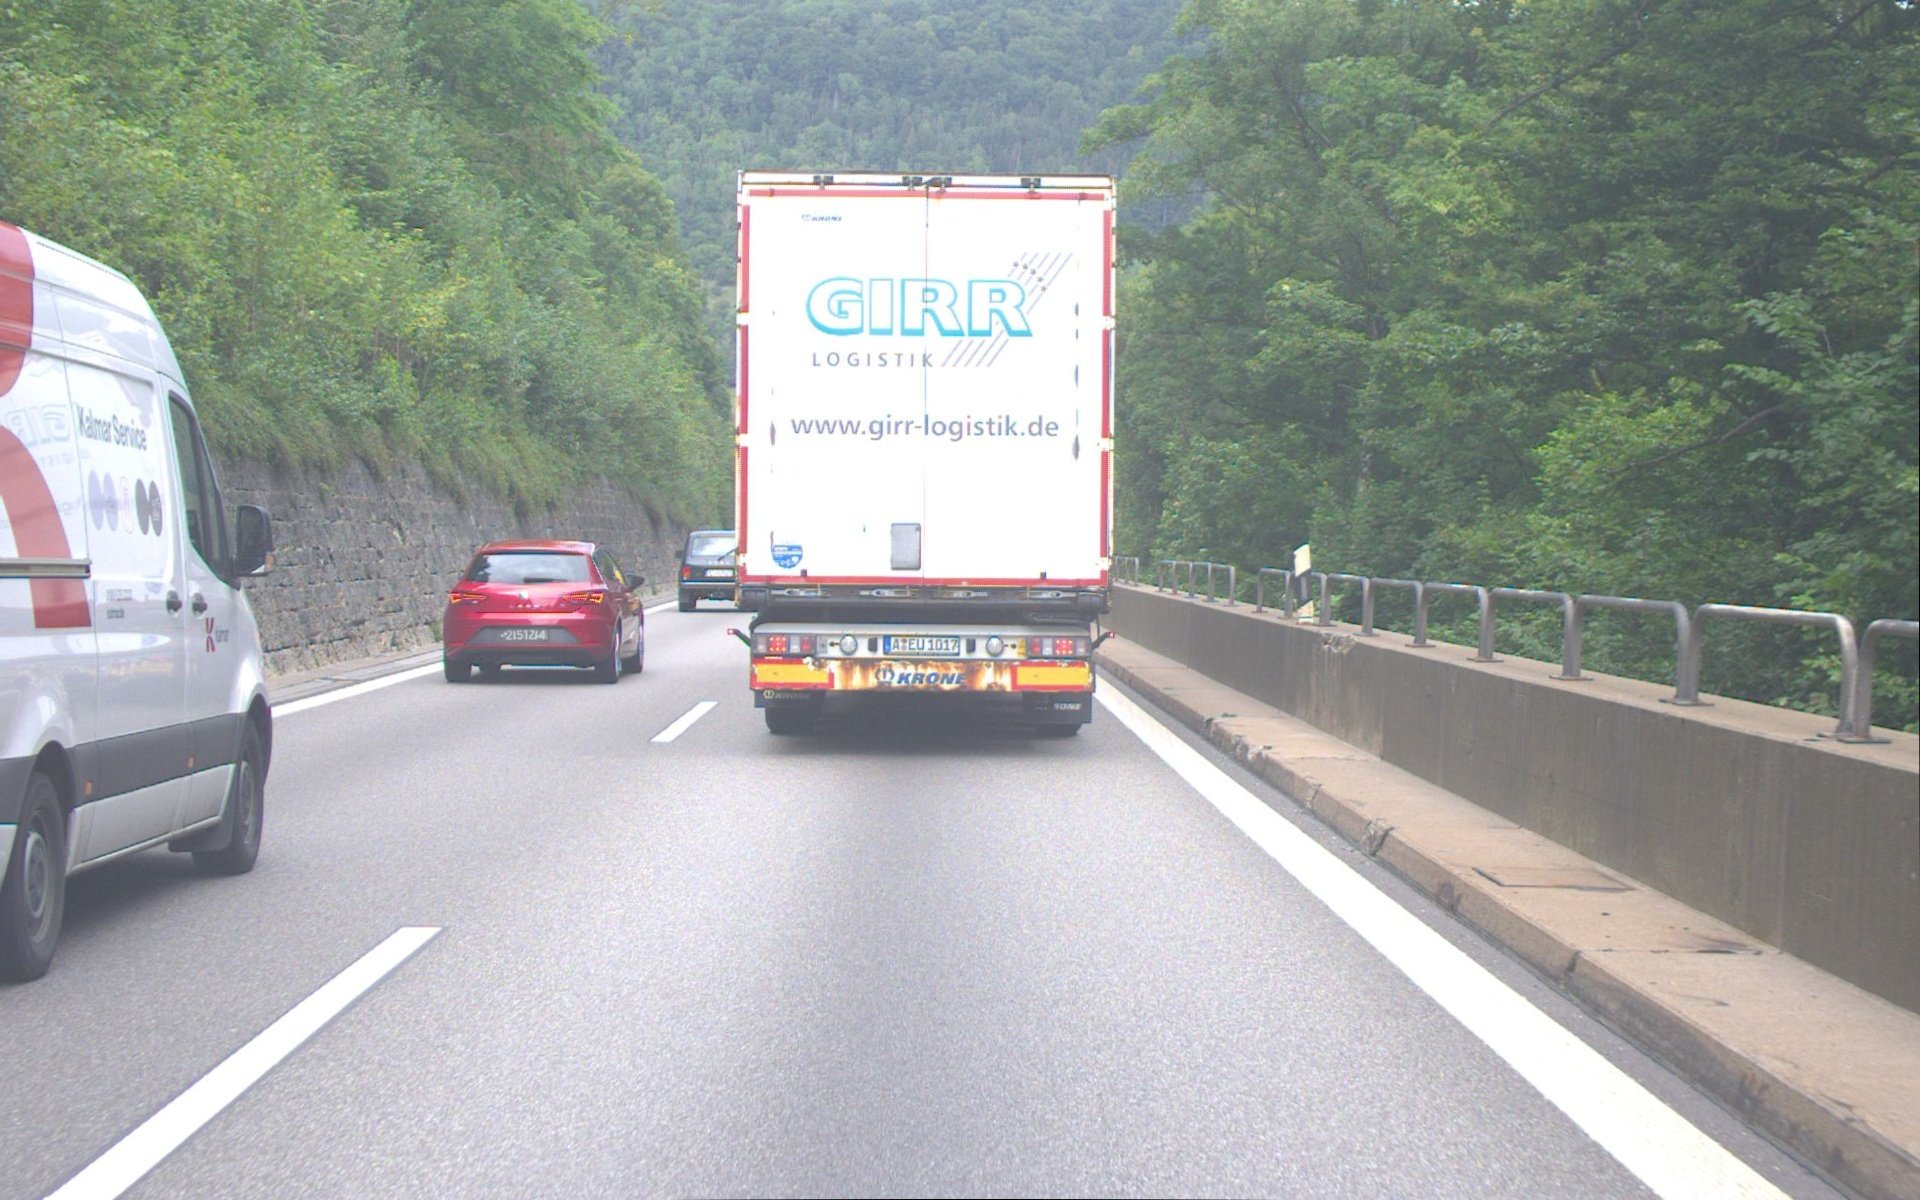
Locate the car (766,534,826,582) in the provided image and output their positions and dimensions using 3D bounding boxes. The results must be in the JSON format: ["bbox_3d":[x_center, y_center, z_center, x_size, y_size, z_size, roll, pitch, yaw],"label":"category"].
[{"bbox_3d":[-5.147,-1.314,108.515,1.729,1.481,4.000,0,1,-1],"label":"car"}]

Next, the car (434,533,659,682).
[{"bbox_3d":[-4.234,0.048,35.831,1.766,1.455,4.411,0,1,1],"label":"car"}]

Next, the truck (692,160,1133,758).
[{"bbox_3d":[-0.291,-1.001,27.408,2.909,3.947,9.279,0,1,0],"label":"truck"}]

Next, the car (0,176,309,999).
[{"bbox_3d":[-4.044,-0.060,12.994,2.026,2.576,6.275,0,1,-1],"label":"car"}]

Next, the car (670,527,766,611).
[{"bbox_3d":[-4.843,-0.621,69.193,1.669,1.633,4.068,0,1,-1],"label":"car"}]
